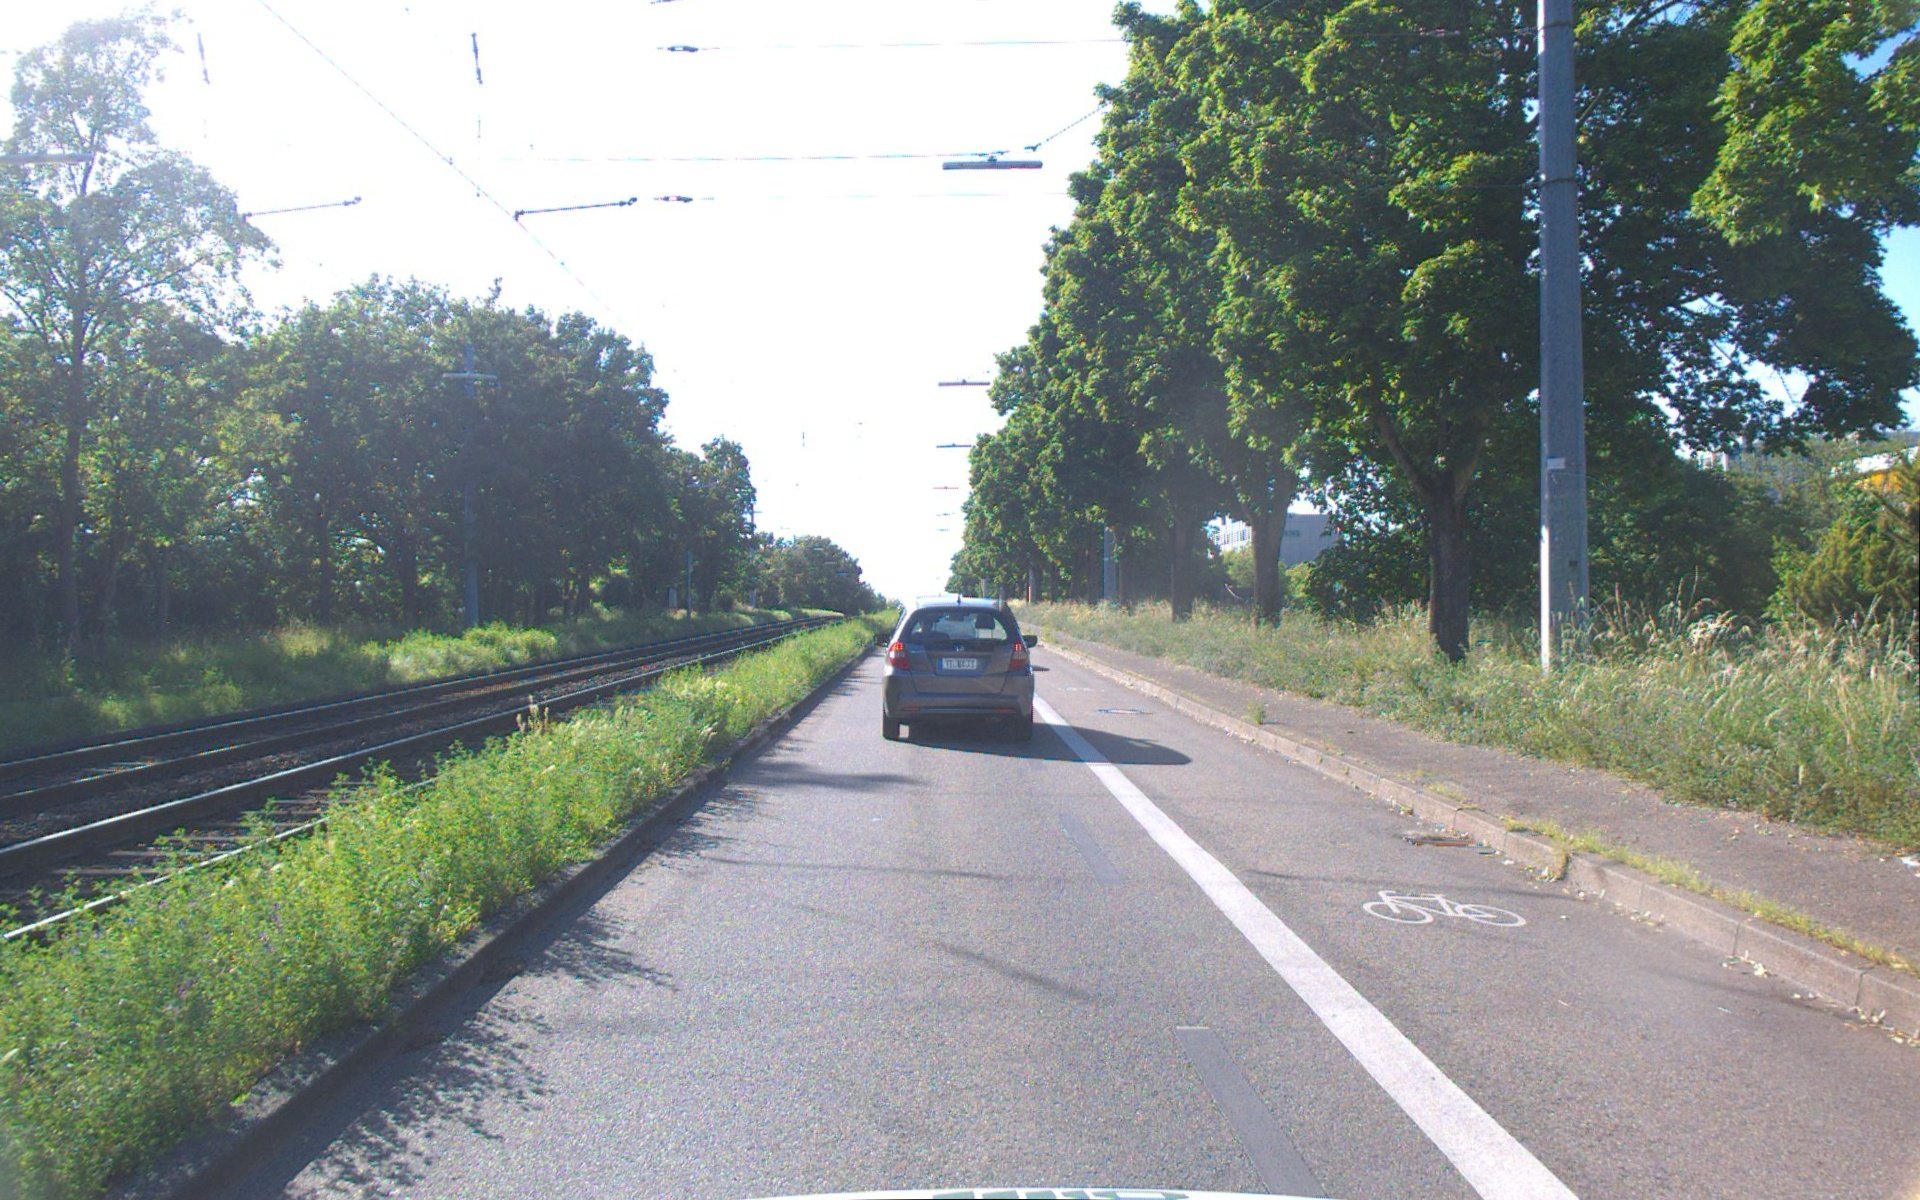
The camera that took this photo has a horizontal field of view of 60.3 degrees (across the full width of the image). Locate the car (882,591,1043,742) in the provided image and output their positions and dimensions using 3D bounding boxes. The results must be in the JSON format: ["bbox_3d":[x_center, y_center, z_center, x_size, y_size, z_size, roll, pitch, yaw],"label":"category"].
[{"bbox_3d":[0.017,0.697,19.017,1.636,1.534,3.810,1,0,0],"label":"car"}]

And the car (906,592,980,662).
[{"bbox_3d":[-0.385,0.619,38.906,1.621,1.534,3.810,1,0,0],"label":"car"}]
